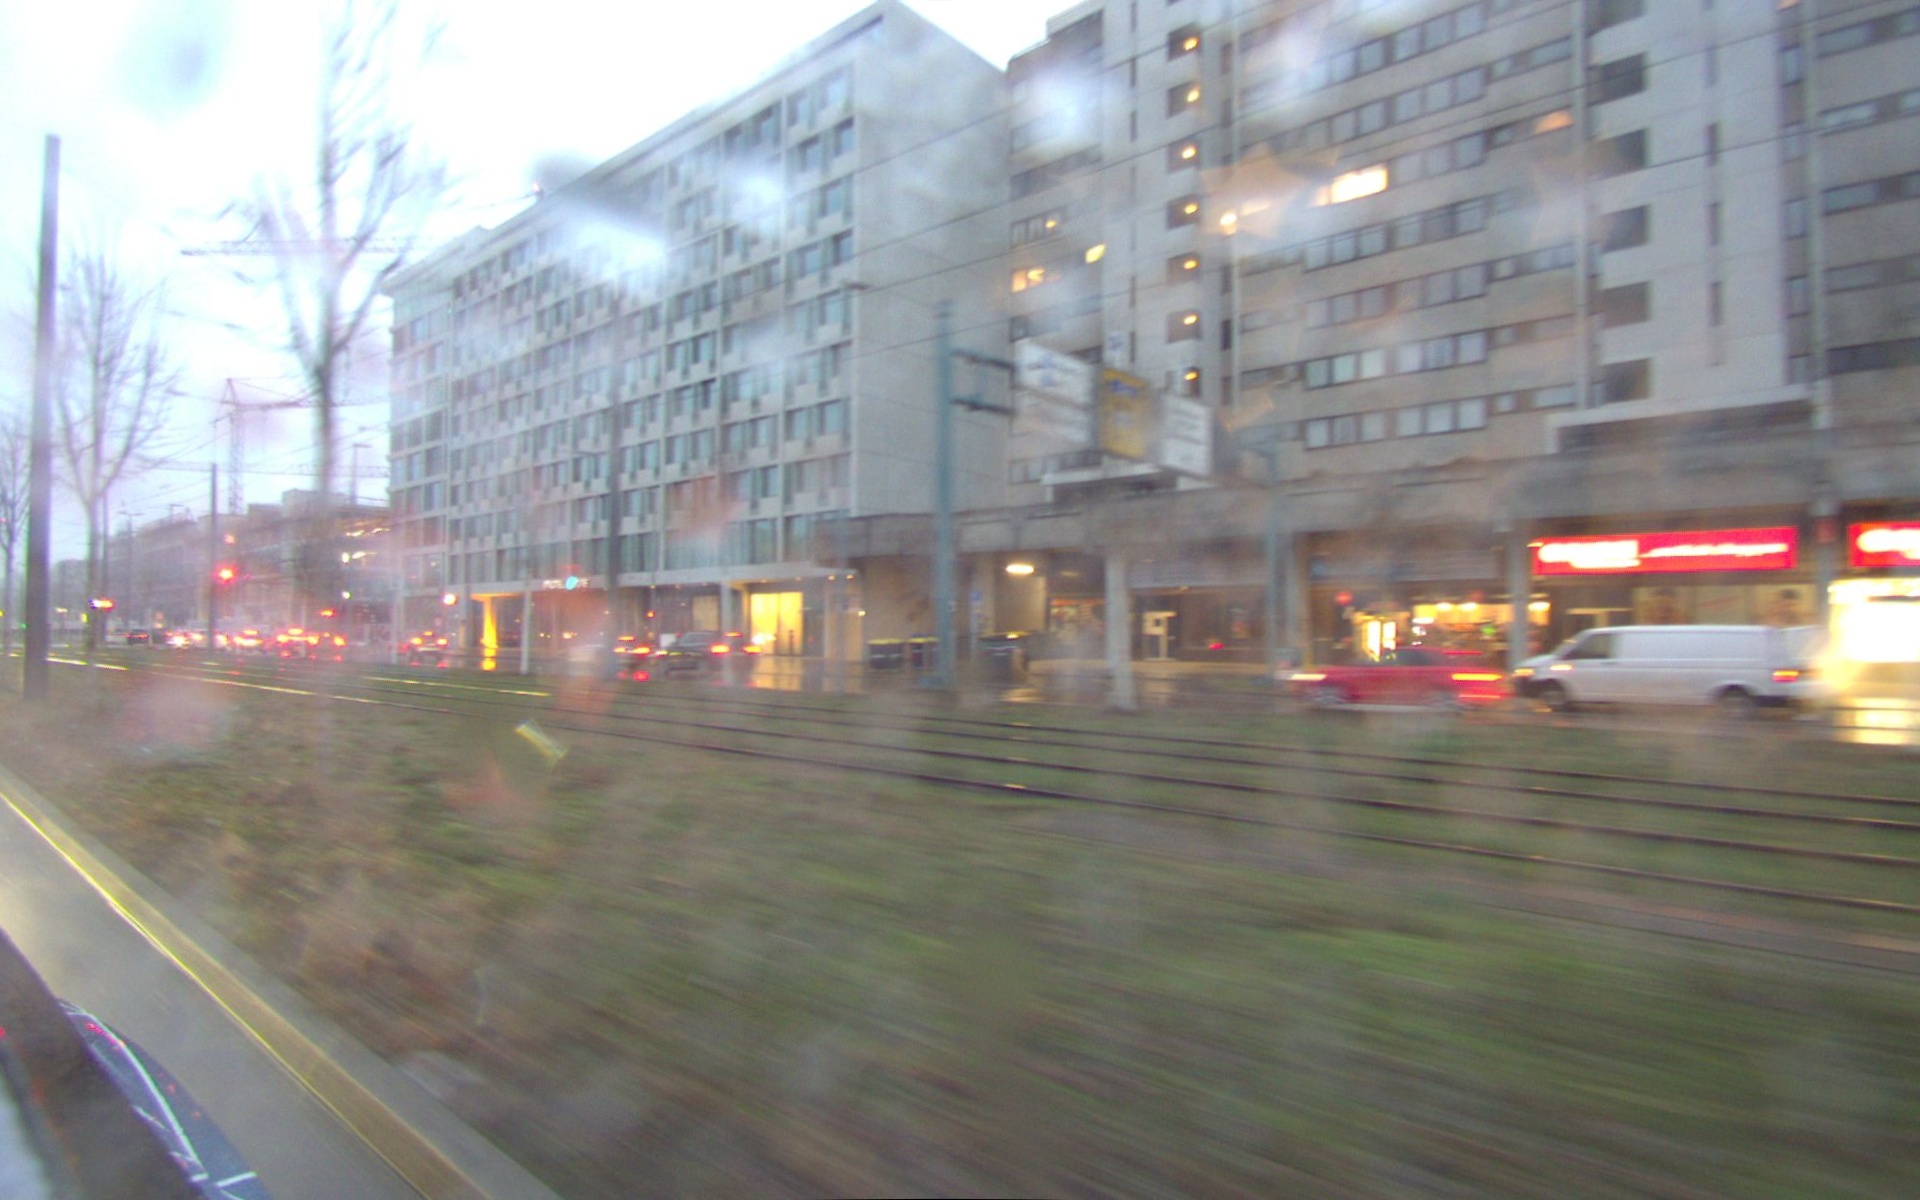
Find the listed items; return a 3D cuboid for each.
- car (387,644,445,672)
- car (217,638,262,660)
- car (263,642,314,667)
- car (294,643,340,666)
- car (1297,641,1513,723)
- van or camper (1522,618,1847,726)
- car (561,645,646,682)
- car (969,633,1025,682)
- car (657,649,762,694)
[{"bbox_3d":[-30.821,3.274,57.342,3.870,1.460,1.575,-1,-2,40],"label":"car"},{"bbox_3d":[-49.166,3.318,69.046,3.870,1.460,1.575,-1,-2,40],"label":"car"},{"bbox_3d":[-41.856,3.351,63.056,3.870,1.460,1.575,-1,-2,40],"label":"car"},{"bbox_3d":[-43.372,3.648,68.245,3.870,1.460,1.575,-1,-2,40],"label":"car"},{"bbox_3d":[9.413,1.672,21.536,3.887,1.523,1.732,-1,-2,40],"label":"car"},{"bbox_3d":[15.890,1.499,22.476,5.652,2.113,1.972,-2,-2,41],"label":"van or camper"},{"bbox_3d":[-15.422,2.725,43.737,3.870,1.460,1.732,-1,-2,40],"label":"car"},{"bbox_3d":[1.300,2.032,36.521,1.656,1.630,3.780,0,-2,-3],"label":"car"},{"bbox_3d":[-8.999,2.513,36.200,3.870,1.460,1.732,-1,-2,40],"label":"car"}]
